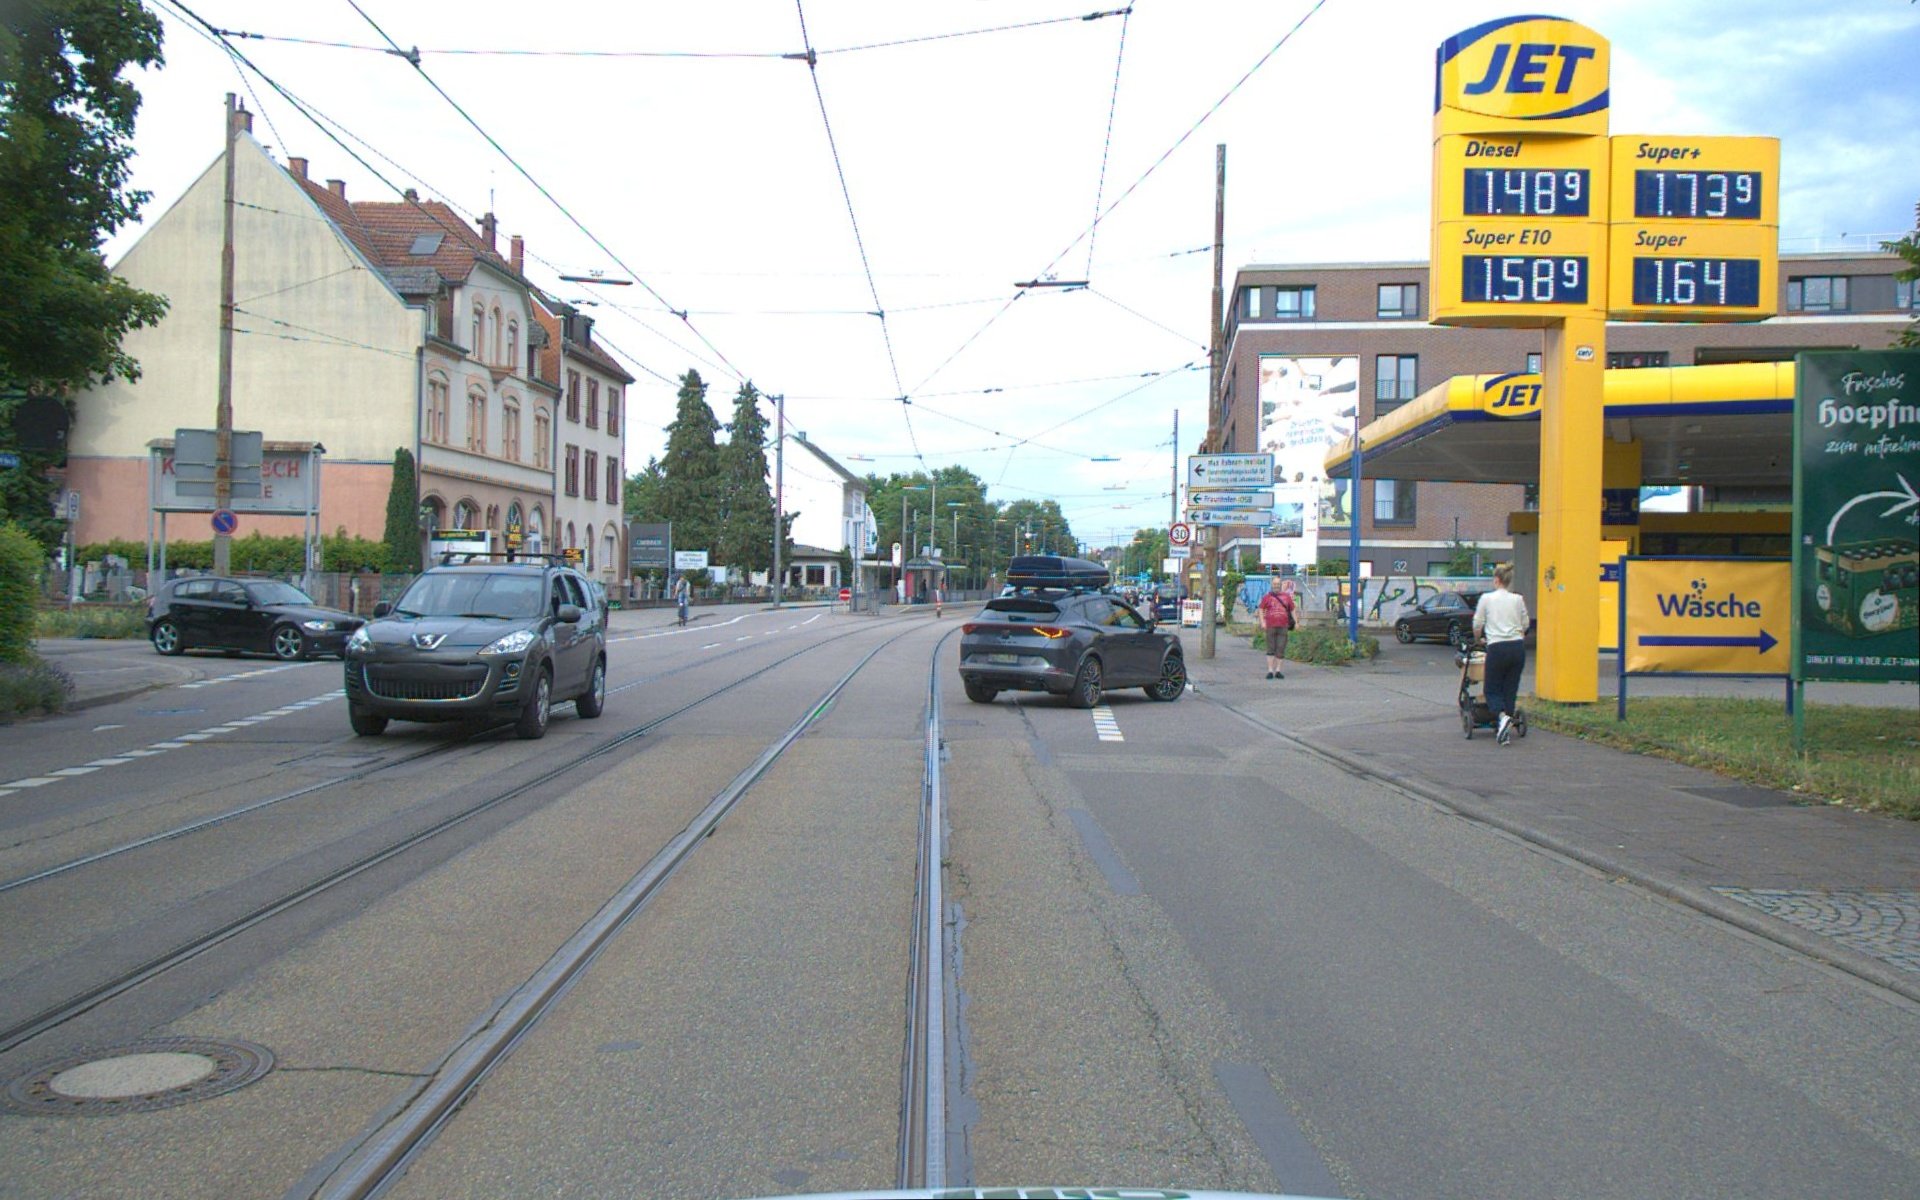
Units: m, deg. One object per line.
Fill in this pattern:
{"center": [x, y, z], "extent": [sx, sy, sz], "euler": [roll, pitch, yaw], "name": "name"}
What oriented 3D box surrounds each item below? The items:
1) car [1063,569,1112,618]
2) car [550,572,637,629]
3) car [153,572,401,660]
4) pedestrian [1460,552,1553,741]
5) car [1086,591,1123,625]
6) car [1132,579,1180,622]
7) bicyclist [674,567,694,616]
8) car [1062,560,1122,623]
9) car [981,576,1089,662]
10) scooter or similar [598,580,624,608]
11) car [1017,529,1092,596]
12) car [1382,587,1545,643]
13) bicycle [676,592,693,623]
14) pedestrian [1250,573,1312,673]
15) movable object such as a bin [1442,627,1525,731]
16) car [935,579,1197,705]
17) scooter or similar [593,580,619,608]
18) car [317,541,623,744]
{"center": [6.039, -0.313, 78.669], "extent": [2.095, 2.183, 4.745], "euler": [2, 0, 3], "name": "car"}
{"center": [-12.120, 0.031, 54.943], "extent": [1.806, 1.748, 4.194], "euler": [2, 0, 1], "name": "car"}
{"center": [-12.032, 0.254, 29.181], "extent": [3.838, 1.412, 1.802], "euler": [1, 1, 20], "name": "car"}
{"center": [5.465, 0.453, 16.599], "extent": [0.751, 1.828, 1.163], "euler": [-1, 0, 13], "name": "pedestrian"}
{"center": [9.436, 0.514, 108.208], "extent": [1.953, 2.049, 3.999], "euler": [2, 0, -1], "name": "car"}
{"center": [9.146, 0.024, 77.407], "extent": [1.835, 1.855, 4.097], "euler": [2, 0, 2], "name": "car"}
{"center": [-10.093, -0.308, 60.464], "extent": [0.722, 1.780, 0.976], "euler": [0, 0, -11], "name": "bicyclist"}
{"center": [5.456, -0.342, 69.165], "extent": [2.170, 2.465, 4.952], "euler": [2, 0, 2], "name": "car"}
{"center": [1.456, 0.343, 33.630], "extent": [1.941, 1.577, 4.183], "euler": [2, 0, -1], "name": "car"}
{"center": [-15.187, -0.259, 72.008], "extent": [1.039, 1.209, 0.315], "euler": [2, 0, -33], "name": "scooter or similar"}
{"center": [2.678, -1.041, 47.643], "extent": [1.928, 1.786, 3.838], "euler": [2, 0, 1], "name": "car"}
{"center": [13.839, 0.381, 45.811], "extent": [1.916, 1.452, 4.862], "euler": [0, 1, -17], "name": "car"}
{"center": [-10.088, 0.265, 60.463], "extent": [0.576, 1.092, 1.952], "euler": [0, 0, -11], "name": "bicycle"}
{"center": [5.787, 0.412, 29.883], "extent": [0.951, 1.769, 0.861], "euler": [-1, 0, 2], "name": "pedestrian"}
{"center": [5.584, 0.831, 17.700], "extent": [0.751, 1.057, 1.025], "euler": [-1, 0, 13], "name": "movable object such as a bin"}
{"center": [1.570, 0.511, 22.713], "extent": [1.952, 1.523, 4.319], "euler": [1, 1, 29], "name": "car"}
{"center": [-15.481, -0.268, 72.360], "extent": [1.039, 1.209, 0.315], "euler": [2, 0, -33], "name": "scooter or similar"}
{"center": [-4.741, 0.371, 16.695], "extent": [1.790, 1.768, 4.335], "euler": [0, 0, 0], "name": "car"}
